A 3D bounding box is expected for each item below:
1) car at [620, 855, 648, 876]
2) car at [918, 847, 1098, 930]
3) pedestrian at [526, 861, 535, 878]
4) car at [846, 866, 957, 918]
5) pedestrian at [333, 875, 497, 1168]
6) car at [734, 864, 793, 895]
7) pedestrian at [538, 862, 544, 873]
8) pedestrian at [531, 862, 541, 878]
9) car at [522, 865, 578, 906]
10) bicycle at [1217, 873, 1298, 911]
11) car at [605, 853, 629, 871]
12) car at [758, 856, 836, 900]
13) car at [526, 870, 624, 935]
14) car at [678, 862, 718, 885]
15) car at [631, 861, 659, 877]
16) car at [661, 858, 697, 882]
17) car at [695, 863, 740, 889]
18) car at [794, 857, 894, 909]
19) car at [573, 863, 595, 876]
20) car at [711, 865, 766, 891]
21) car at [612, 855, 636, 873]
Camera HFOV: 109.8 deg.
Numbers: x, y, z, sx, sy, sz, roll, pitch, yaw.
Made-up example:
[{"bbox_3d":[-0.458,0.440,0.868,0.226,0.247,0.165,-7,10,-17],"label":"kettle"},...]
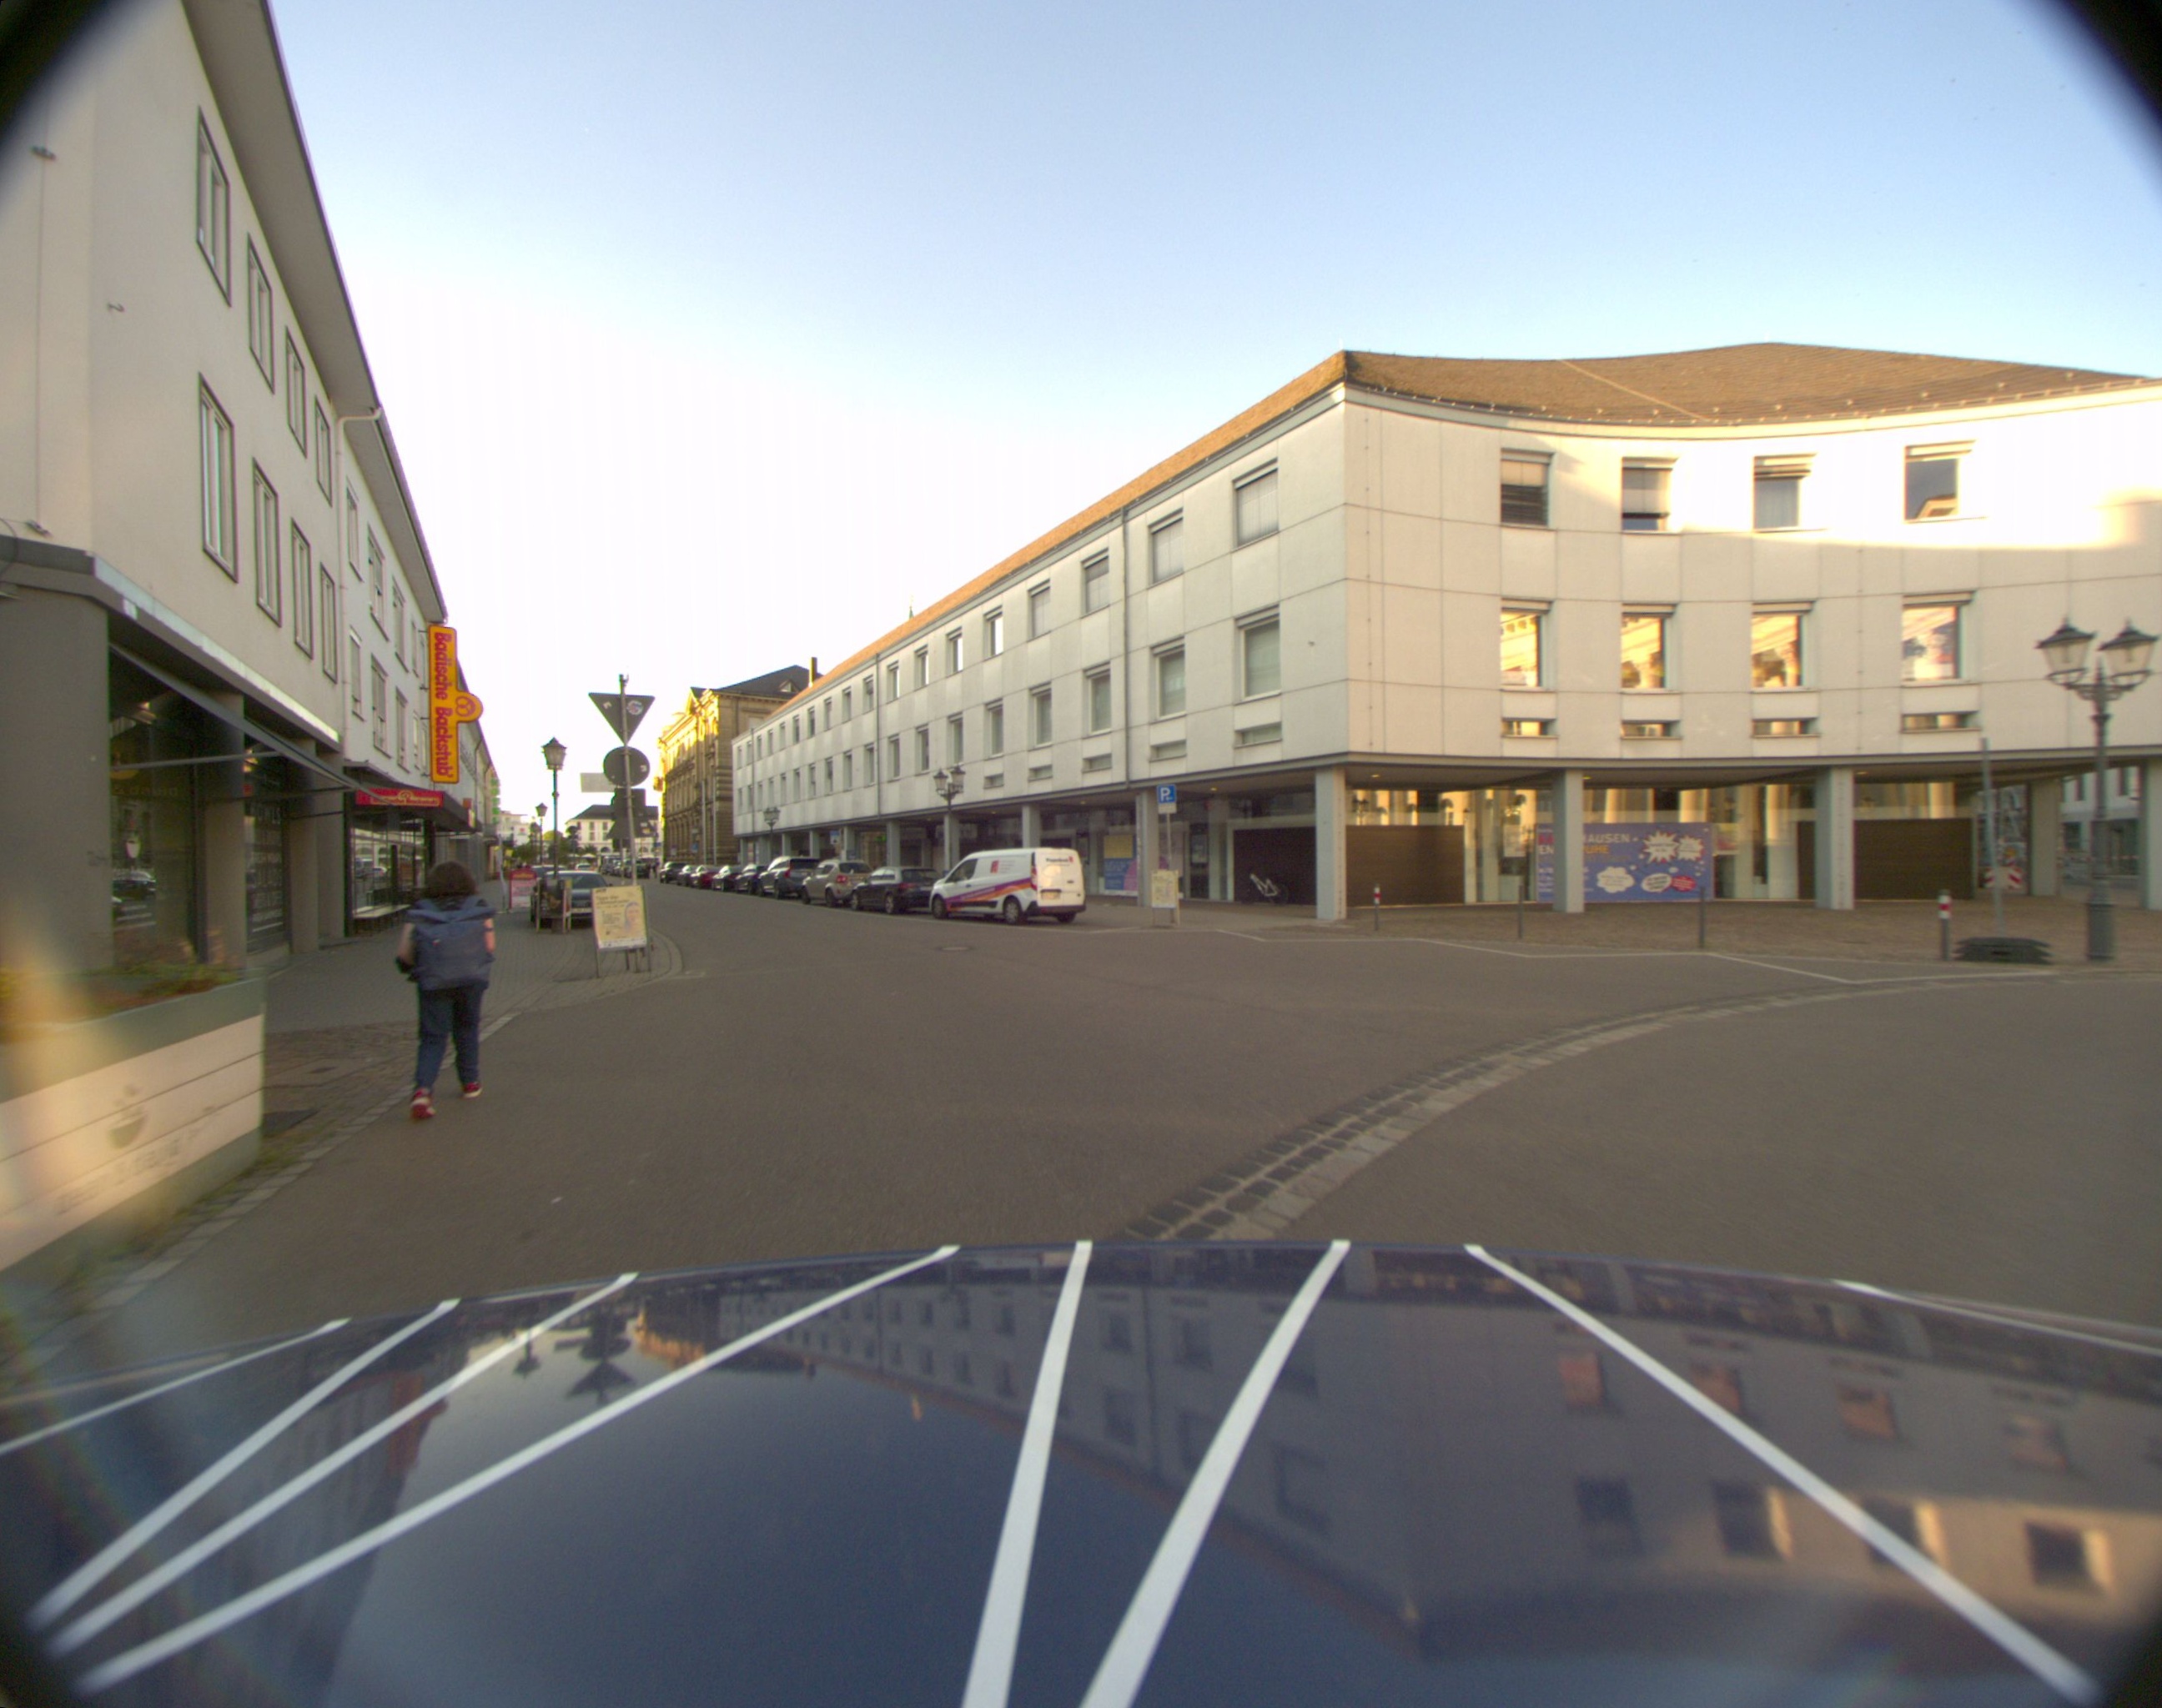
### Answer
[{"bbox_3d":[-47.826,1.196,81.206,2.004,2.065,4.976,-1,1,-36],"label":"car"},{"bbox_3d":[-1.978,0.787,19.210,2.004,1.805,4.770,-2,1,-43],"label":"car"},{"bbox_3d":[-57.987,1.635,79.999,0.623,1.779,0.911,-2,1,-32],"label":"pedestrian"},{"bbox_3d":[-5.511,1.079,22.991,1.686,1.346,4.094,-2,1,-38],"label":"car"},{"bbox_3d":[-4.152,0.966,4.799,0.693,1.638,0.694,-1,1,-36],"label":"pedestrian"},{"bbox_3d":[-15.282,1.195,36.465,1.682,1.392,3.989,0,-1,-37],"label":"car"},{"bbox_3d":[-83.190,2.072,116.960,0.685,1.557,0.651,-2,1,-38],"label":"pedestrian"},{"bbox_3d":[-58.964,1.713,82.138,0.751,1.720,0.879,-1,1,-30],"label":"pedestrian"},{"bbox_3d":[-22.099,1.258,31.630,1.768,1.514,3.667,-1,1,-35],"label":"car"},{"bbox_3d":[5.020,1.066,21.768,0.736,0.978,2.329,-2,1,-37],"label":"bicycle"},{"bbox_3d":[-58.760,1.020,96.167,2.004,2.158,5.193,-2,1,-38],"label":"car"},{"bbox_3d":[-12.009,0.959,31.950,2.004,1.718,4.504,0,0,-35],"label":"car"},{"bbox_3d":[-13.593,1.202,20.317,1.811,1.455,4.106,-1,0,-39],"label":"car"},{"bbox_3d":[-25.452,1.245,50.415,1.794,1.400,4.077,-1,0,-35],"label":"car"},{"bbox_3d":[-43.684,1.449,76.098,2.004,1.486,4.153,-1,1,-35],"label":"car"},{"bbox_3d":[-29.375,1.136,55.519,1.794,1.605,4.155,-1,0,-35],"label":"car"},{"bbox_3d":[-21.742,1.272,45.362,1.794,1.400,4.077,-1,0,-35],"label":"car"},{"bbox_3d":[-8.398,0.965,26.760,2.004,1.652,3.988,1,0,-40],"label":"car"},{"bbox_3d":[-54.998,1.669,84.090,1.773,1.413,3.989,0,0,-37],"label":"car"},{"bbox_3d":[-18.644,1.260,41.280,2.004,1.346,3.989,1,-1,-35],"label":"car"},{"bbox_3d":[-54.564,1.190,90.739,2.004,2.075,5.193,-1,1,-35],"label":"car"}]
